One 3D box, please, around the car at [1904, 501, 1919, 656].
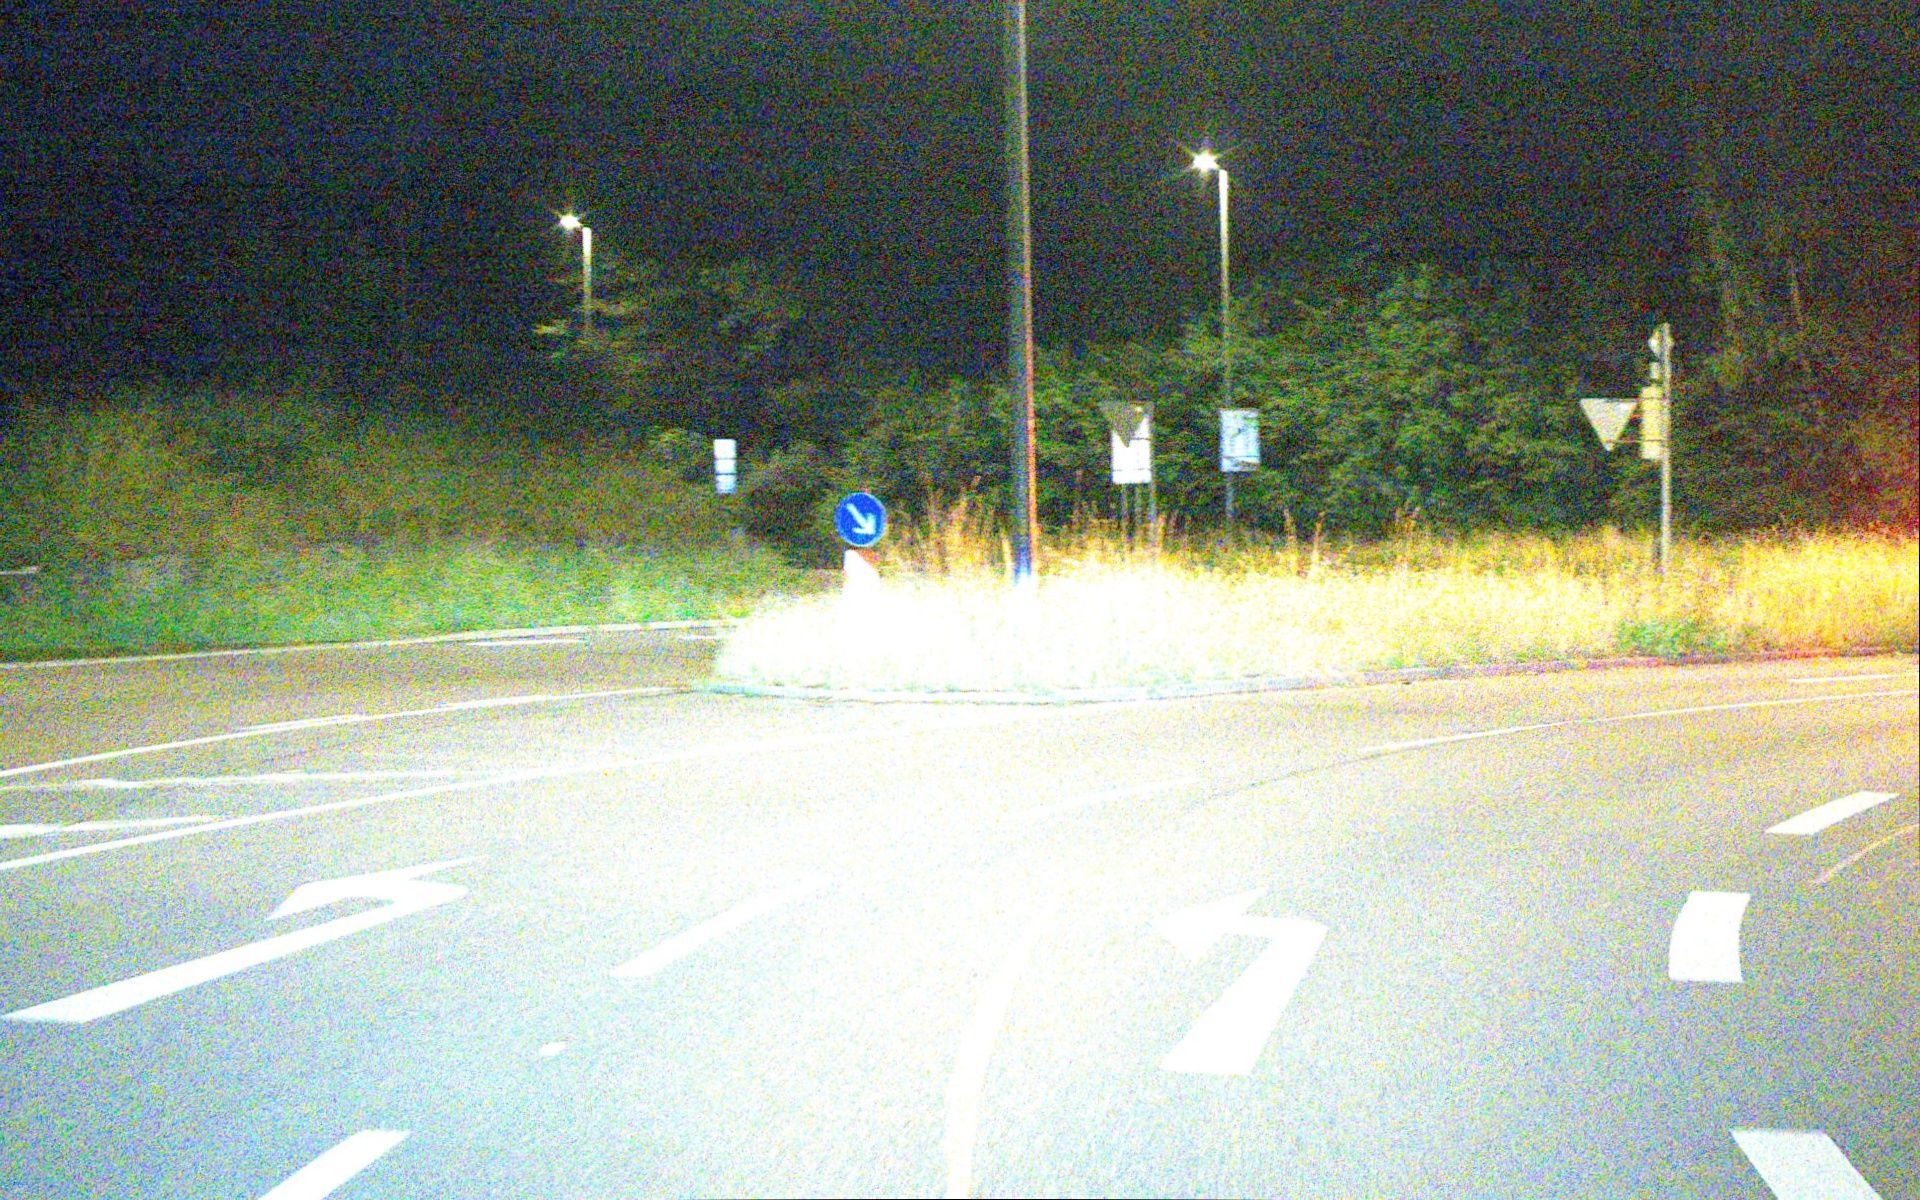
[{"bbox_3d":[11.782,-0.212,35.886,3.996,1.577,1.857,-1,3,-43],"label":"car"}]
